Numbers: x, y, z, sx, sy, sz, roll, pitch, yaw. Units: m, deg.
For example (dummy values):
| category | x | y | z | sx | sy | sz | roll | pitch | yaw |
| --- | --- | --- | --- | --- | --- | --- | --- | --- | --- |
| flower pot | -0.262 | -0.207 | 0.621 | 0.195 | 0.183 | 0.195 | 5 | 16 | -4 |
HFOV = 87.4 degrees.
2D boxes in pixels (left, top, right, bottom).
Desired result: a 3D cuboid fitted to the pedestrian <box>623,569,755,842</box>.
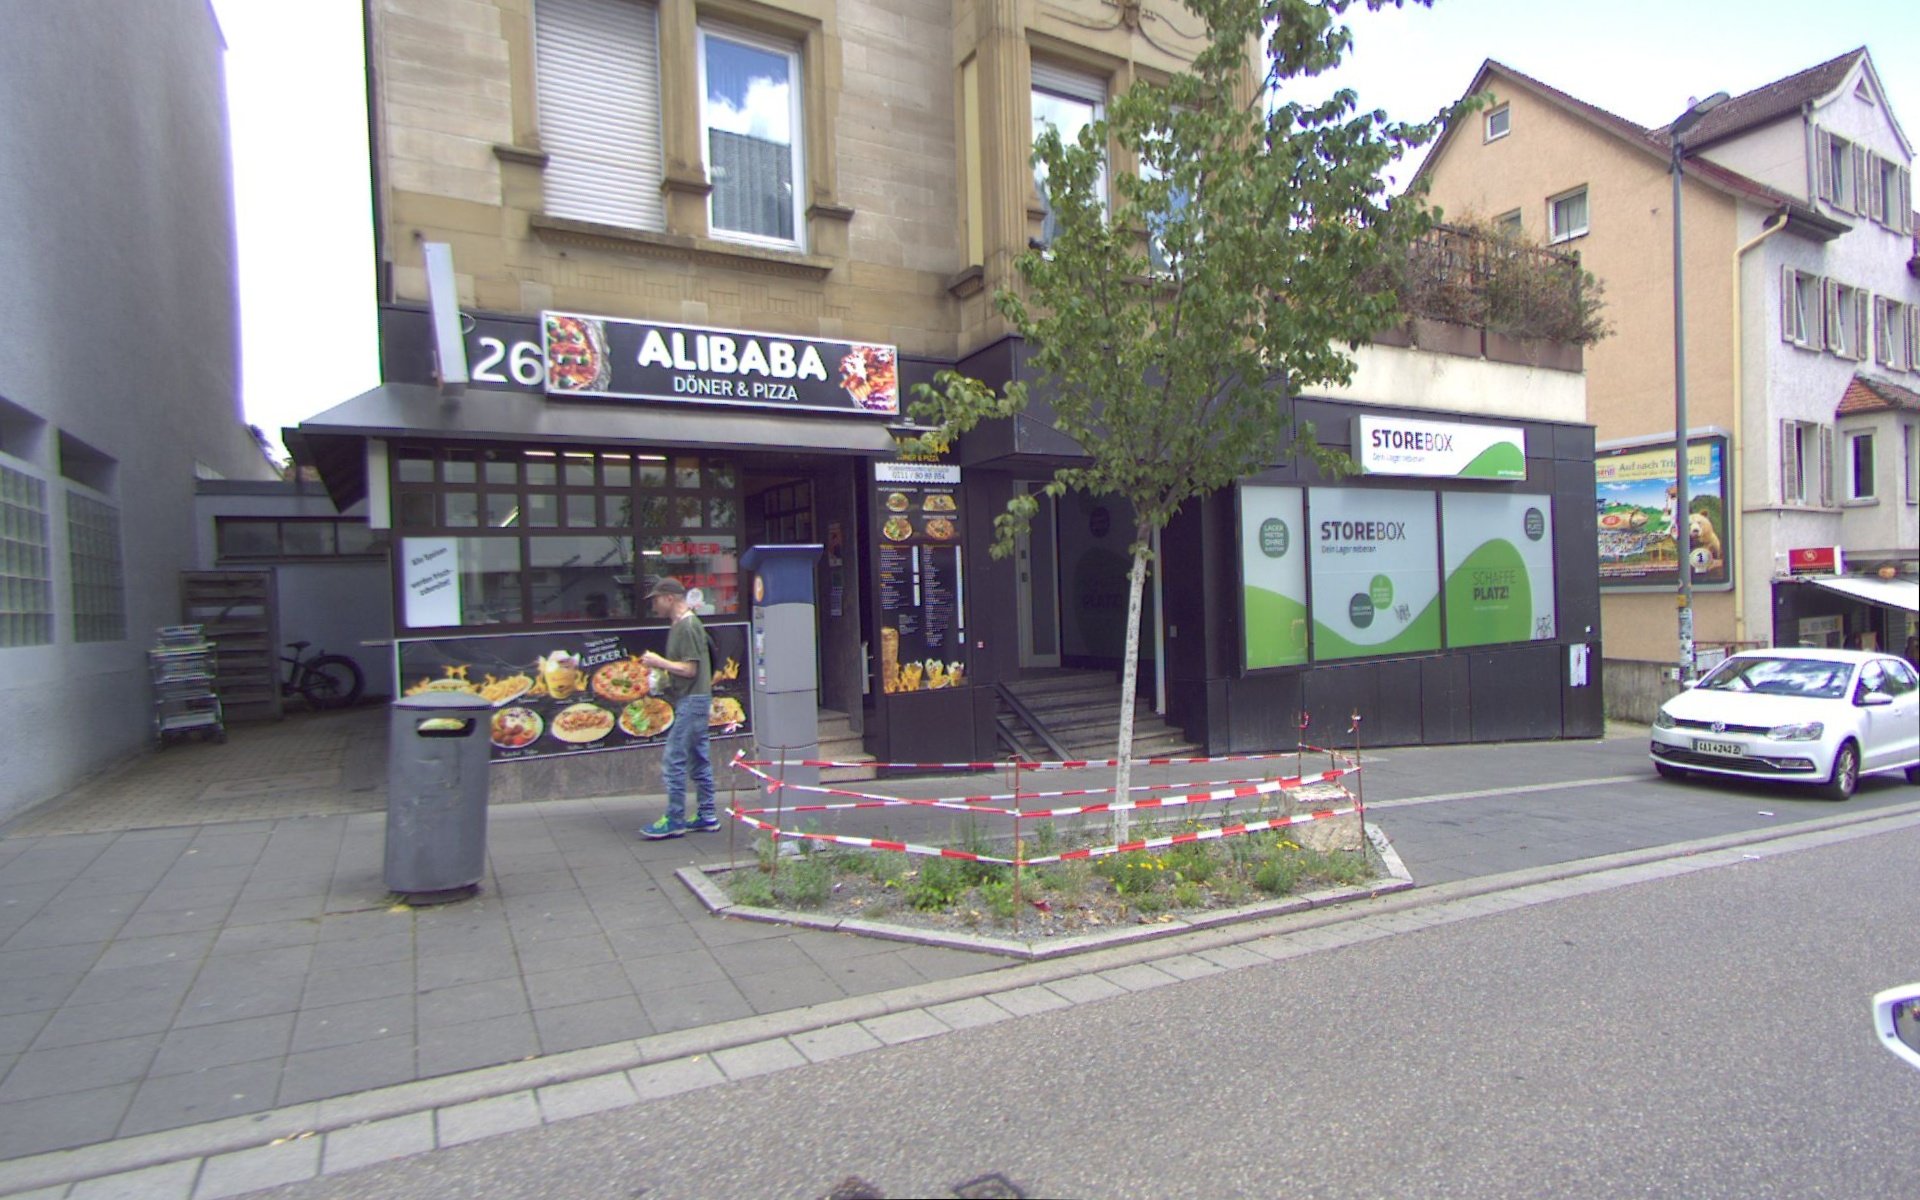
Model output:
| category | x | y | z | sx | sy | sz | roll | pitch | yaw |
| --- | --- | --- | --- | --- | --- | --- | --- | --- | --- |
| pedestrian | -1.843 | 0.675 | 6.812 | 0.702 | 1.736 | 0.584 | 1 | 1 | -30 |

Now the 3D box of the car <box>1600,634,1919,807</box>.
| category | x | y | z | sx | sy | sz | roll | pitch | yaw |
| --- | --- | --- | --- | --- | --- | --- | --- | --- | --- |
| car | 9.374 | 1.202 | 11.378 | 4.213 | 1.531 | 1.916 | 1 | 1 | -31 |

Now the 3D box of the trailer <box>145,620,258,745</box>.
| category | x | y | z | sx | sy | sz | roll | pitch | yaw |
| --- | --- | --- | --- | --- | --- | --- | --- | --- | --- |
| trailer | -8.125 | 0.839 | 10.815 | 0.780 | 1.229 | 1.226 | -2 | 0 | -29 |

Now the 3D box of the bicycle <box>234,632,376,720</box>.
| category | x | y | z | sx | sy | sz | roll | pitch | yaw |
| --- | --- | --- | --- | --- | --- | --- | --- | --- | --- |
| bicycle | -8.788 | 0.999 | 13.542 | 1.503 | 1.009 | 0.436 | -5 | 2 | -30 |
